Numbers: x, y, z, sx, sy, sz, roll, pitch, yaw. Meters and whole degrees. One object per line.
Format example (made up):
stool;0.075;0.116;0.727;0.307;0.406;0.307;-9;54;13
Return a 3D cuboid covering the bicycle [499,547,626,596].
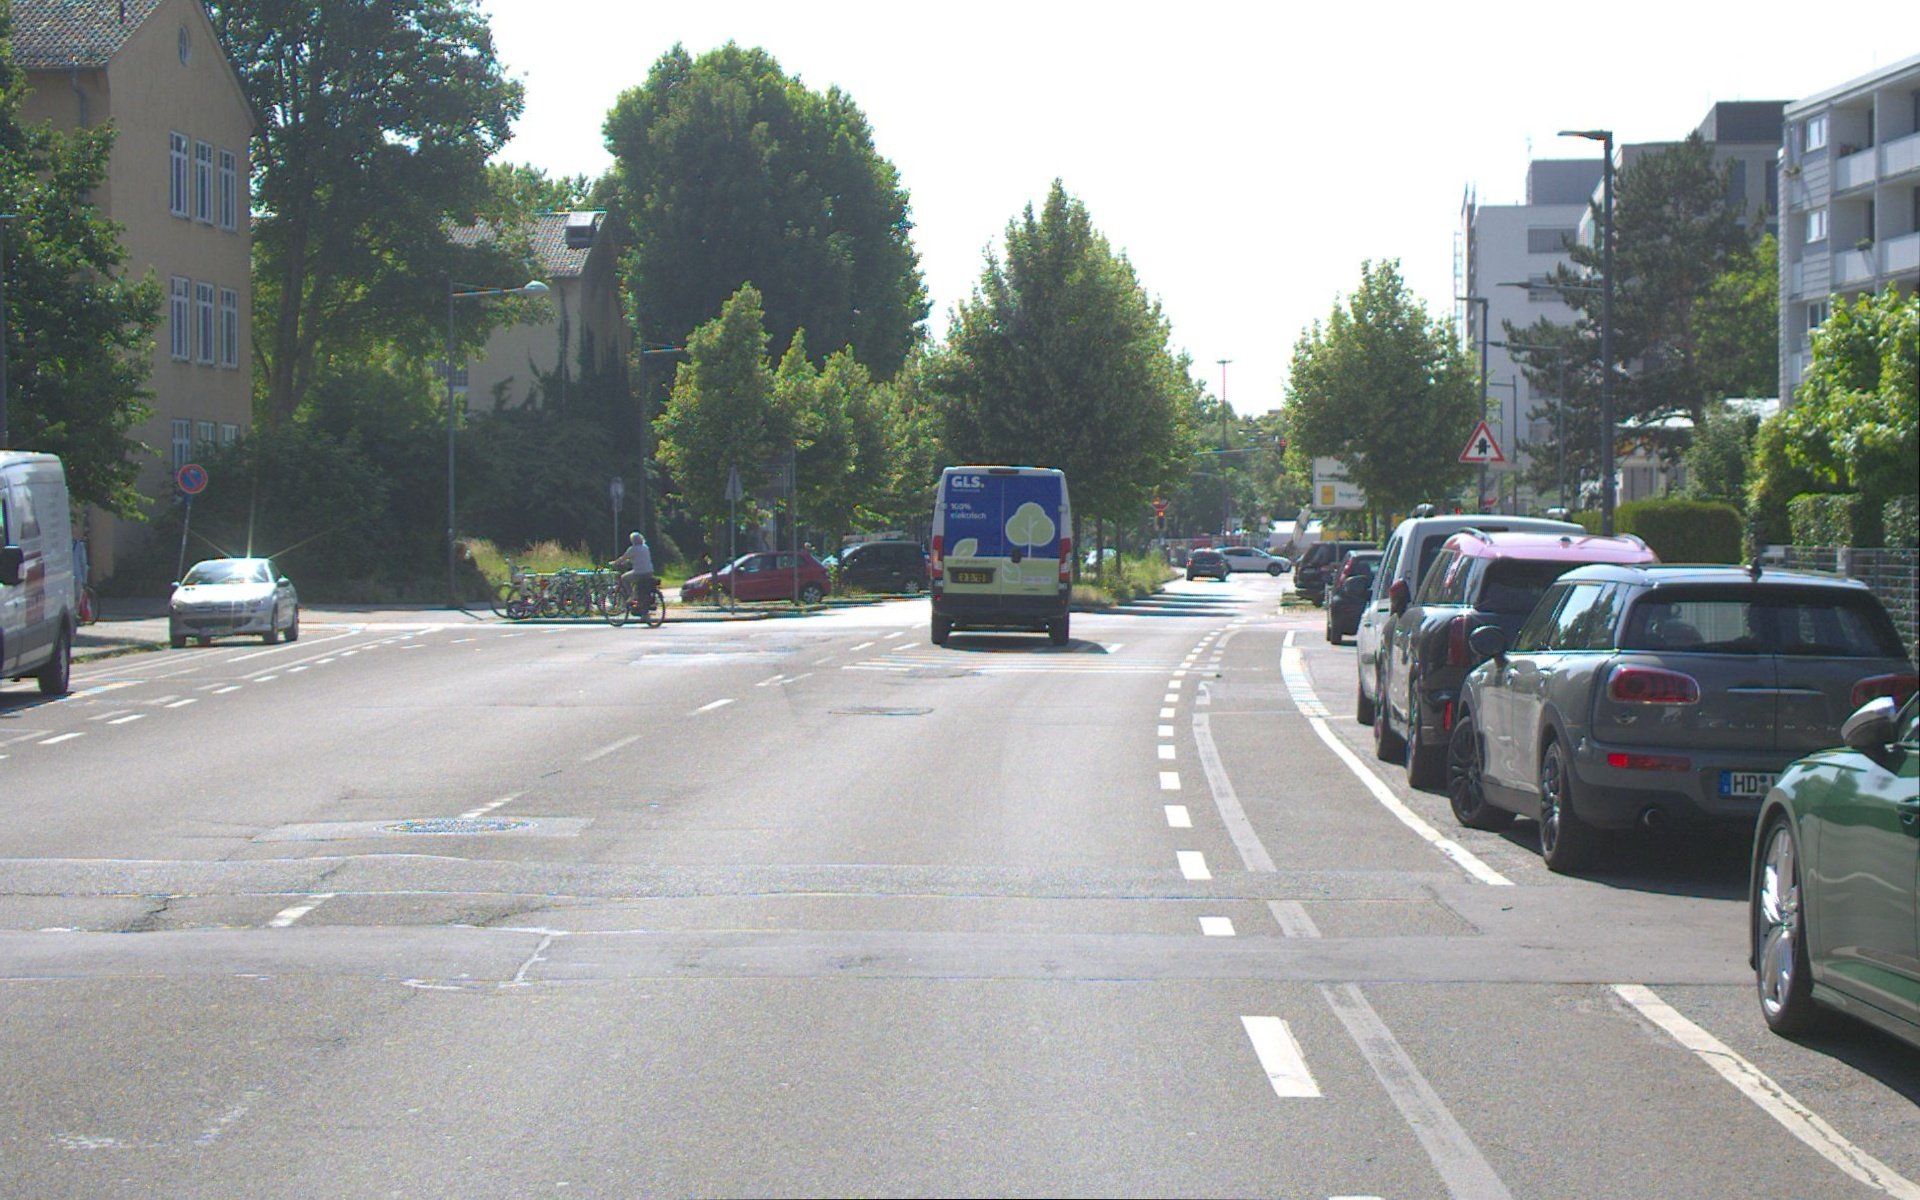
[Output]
bicycle;-8.352;-0.600;72.312;2.545;0.984;0.739;0;1;3

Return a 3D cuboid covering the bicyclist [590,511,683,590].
bicyclist;-5.774;-0.887;61.375;1.354;1.398;0.958;1;2;38

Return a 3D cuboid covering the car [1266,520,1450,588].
car;9.979;-1.153;86.181;4.106;1.634;2.045;0;1;-27

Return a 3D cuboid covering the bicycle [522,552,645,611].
bicycle;-8.184;-0.409;74.794;2.545;1.252;0.739;1;1;3

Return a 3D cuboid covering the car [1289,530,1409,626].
car;6.060;-0.353;53.871;1.617;1.385;4.000;2;1;4

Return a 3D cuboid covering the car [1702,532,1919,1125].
car;3.337;0.611;8.994;1.812;1.458;4.788;3;1;2

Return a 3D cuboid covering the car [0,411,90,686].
car;-9.946;-0.507;33.224;2.088;2.488;5.954;-1;1;-6

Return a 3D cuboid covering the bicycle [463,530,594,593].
bicycle;-8.810;-0.785;70.254;2.545;1.252;0.739;0;1;3

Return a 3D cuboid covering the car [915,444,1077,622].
car;0.577;-0.999;52.049;2.276;2.515;6.135;-1;1;1

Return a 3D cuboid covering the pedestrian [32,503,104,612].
pedestrian;-14.714;-0.706;56.735;0.973;1.774;0.725;1;1;2

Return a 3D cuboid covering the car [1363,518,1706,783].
car;3.737;0.253;23.036;1.762;1.588;4.313;1;1;3

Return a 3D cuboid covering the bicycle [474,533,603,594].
bicycle;-8.735;-0.755;71.268;2.545;1.235;0.739;0;1;3

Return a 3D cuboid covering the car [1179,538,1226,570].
car;11.119;-2.109;157.721;1.994;1.393;4.000;1;1;2

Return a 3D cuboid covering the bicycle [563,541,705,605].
bicycle;-5.828;-0.491;61.433;2.550;1.109;0.958;1;2;38

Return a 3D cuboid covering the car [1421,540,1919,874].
car;3.521;0.440;17.310;1.762;1.438;4.069;-1;1;-1

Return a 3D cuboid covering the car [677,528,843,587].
car;-5.202;-1.120;89.229;3.986;1.461;2.001;-1;1;-15

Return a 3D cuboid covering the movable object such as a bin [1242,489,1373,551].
movable object such as a bin;26.159;-6.016;258.739;9.678;4.534;3.163;1;1;8

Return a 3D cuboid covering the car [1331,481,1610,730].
car;4.137;0.037;28.521;1.762;1.820;4.598;3;0;3

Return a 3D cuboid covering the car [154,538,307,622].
car;-11.618;-0.345;54.971;1.720;1.262;4.001;-1;1;-2

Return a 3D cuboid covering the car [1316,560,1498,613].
car;10.812;-0.336;83.161;3.986;1.232;1.753;0;1;-20

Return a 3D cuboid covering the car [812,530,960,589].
car;-2.299;-1.281;107.243;4.175;1.810;2.004;-1;2;-32
